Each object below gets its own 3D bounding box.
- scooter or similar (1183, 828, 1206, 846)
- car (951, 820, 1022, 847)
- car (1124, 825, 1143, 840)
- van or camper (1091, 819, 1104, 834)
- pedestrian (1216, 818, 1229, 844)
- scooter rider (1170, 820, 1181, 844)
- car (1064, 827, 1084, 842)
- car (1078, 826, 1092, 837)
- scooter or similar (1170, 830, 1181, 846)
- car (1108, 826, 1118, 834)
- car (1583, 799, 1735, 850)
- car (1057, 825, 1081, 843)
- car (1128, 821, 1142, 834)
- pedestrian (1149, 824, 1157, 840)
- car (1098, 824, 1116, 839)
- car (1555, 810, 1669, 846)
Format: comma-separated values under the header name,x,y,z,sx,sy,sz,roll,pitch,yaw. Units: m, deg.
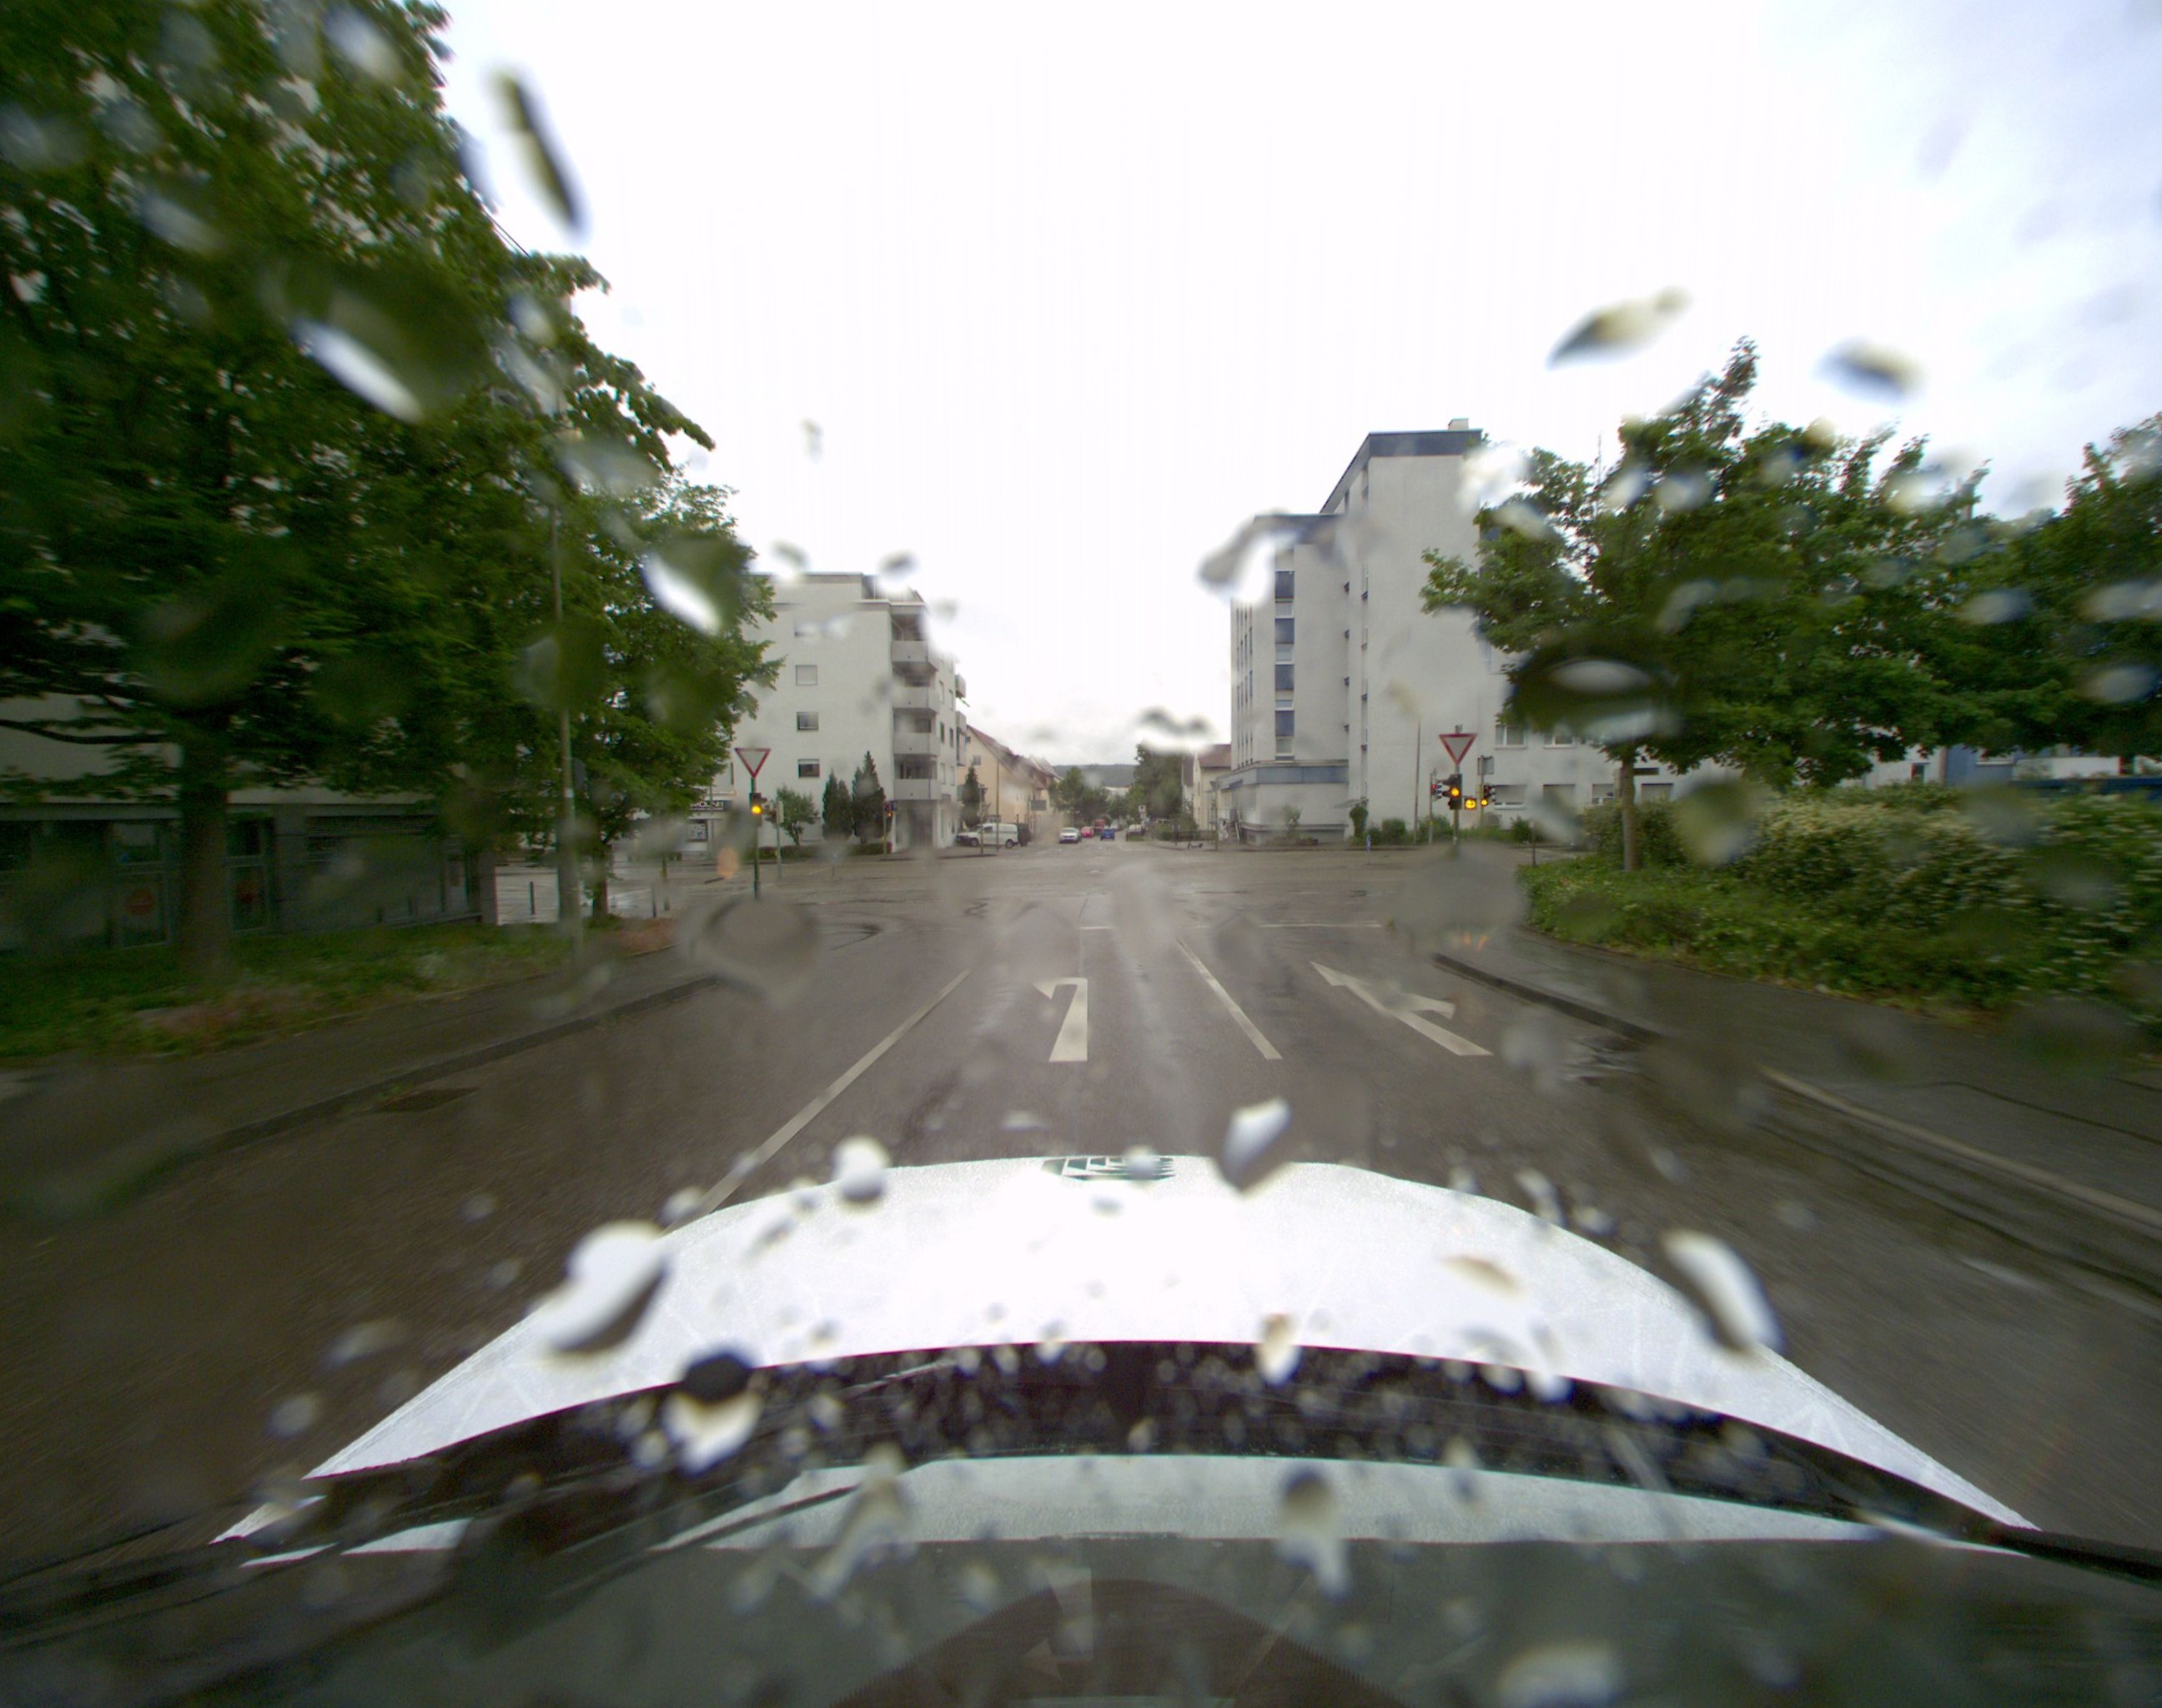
name,x,y,z,sx,sy,sz,roll,pitch,yaw
scooter or similar,7.137,-1.068,51.127,1.265,1.081,0.876,-2,1,-2
car,-6.985,-1.544,60.523,4.866,1.835,1.978,-3,2,-36
car,6.039,-2.488,94.246,2.137,1.589,4.132,-2,2,3
van or camper,2.844,-4.668,139.429,1.893,2.513,4.243,-2,2,3
pedestrian,9.080,-1.483,52.198,0.646,1.647,0.525,2,1,-4
scooter rider,7.230,-1.710,62.326,0.749,1.795,0.673,-2,1,4
car,-0.770,-2.194,92.120,1.985,1.625,4.195,-2,2,3
car,0.596,-3.218,117.154,1.894,1.558,4.195,-2,2,3
scooter or similar,7.238,-1.253,62.327,0.753,1.171,1.316,-2,1,4
car,6.587,-4.972,167.267,1.894,1.558,4.195,-2,2,3
car,23.772,-1.183,33.658,4.786,1.916,1.831,-1,0,8
car,-1.158,-2.014,80.716,1.985,1.625,4.195,-2,2,3
car,7.754,-3.729,116.293,1.894,1.745,4.195,-2,2,3
pedestrian,8.081,-2.459,91.207,0.744,1.848,0.525,2,1,-4
car,3.142,-2.714,98.260,1.987,1.683,4.001,-2,2,0
car,24.219,-1.179,37.268,3.966,1.467,1.835,-2,2,6
